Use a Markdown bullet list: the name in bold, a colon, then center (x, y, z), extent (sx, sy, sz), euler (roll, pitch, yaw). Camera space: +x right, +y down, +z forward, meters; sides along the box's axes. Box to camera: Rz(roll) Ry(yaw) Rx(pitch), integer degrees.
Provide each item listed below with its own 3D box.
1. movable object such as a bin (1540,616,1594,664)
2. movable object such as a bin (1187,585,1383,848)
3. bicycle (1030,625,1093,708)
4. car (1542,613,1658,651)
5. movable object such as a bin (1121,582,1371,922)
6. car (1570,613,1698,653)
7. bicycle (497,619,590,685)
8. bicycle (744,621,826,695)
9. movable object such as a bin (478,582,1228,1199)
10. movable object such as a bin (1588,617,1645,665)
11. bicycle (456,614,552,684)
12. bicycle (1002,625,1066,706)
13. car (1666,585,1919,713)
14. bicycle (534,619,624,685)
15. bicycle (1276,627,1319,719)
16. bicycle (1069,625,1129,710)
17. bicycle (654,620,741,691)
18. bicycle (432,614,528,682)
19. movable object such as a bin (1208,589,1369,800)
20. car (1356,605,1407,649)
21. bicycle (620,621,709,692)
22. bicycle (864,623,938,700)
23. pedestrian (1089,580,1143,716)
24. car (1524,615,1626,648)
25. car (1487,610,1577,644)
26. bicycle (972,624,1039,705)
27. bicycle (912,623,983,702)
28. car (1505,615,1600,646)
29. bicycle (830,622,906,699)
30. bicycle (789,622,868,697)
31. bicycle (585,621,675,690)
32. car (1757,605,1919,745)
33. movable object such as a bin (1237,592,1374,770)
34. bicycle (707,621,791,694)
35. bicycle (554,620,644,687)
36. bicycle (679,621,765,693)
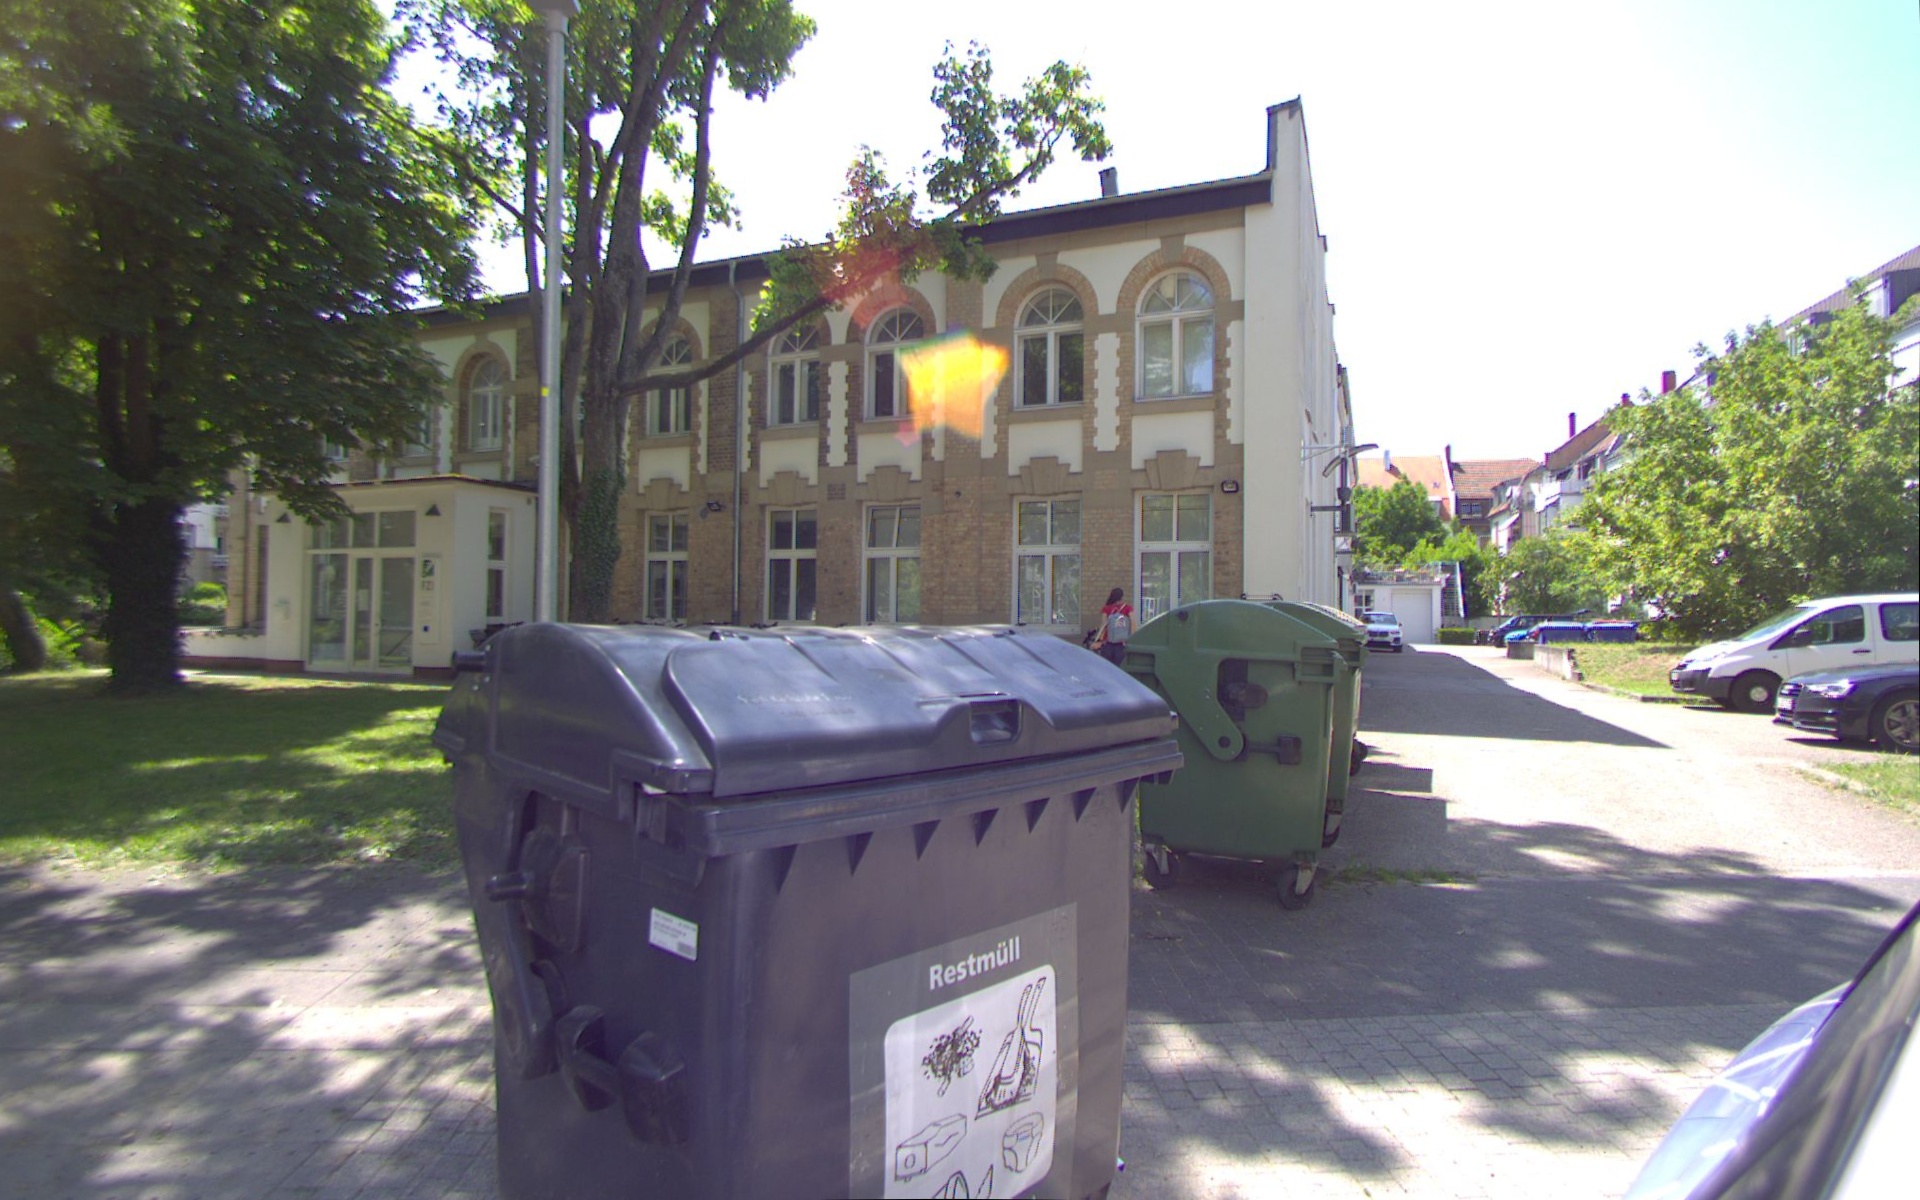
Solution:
- **movable object such as a bin**: center (18.629, 1.216, 31.091), extent (1.258, 1.406, 1.086), euler (0, -1, 24)
- **movable object such as a bin**: center (2.136, 0.655, 6.534), extent (1.067, 1.476, 1.365), euler (0, -1, 24)
- **bicycle**: center (1.528, 0.945, 14.976), extent (0.402, 1.116, 1.812), euler (0, 0, 23)
- **car**: center (28.861, 1.415, 45.764), extent (4.169, 1.589, 1.603), euler (0, -1, 19)
- **movable object such as a bin**: center (1.535, 0.662, 5.258), extent (1.067, 1.476, 1.365), euler (0, -1, 24)
- **car**: center (28.191, 1.366, 42.472), extent (4.169, 1.589, 1.603), euler (0, -1, 19)
- **bicycle**: center (-7.626, 0.926, 18.621), extent (0.402, 1.116, 1.812), euler (0, 0, 23)
- **bicycle**: center (-2.843, 0.924, 16.599), extent (0.402, 1.116, 1.812), euler (0, 0, 23)
- **movable object such as a bin**: center (-0.081, 0.716, 2.171), extent (1.067, 1.476, 1.365), euler (0, -1, 24)
- **movable object such as a bin**: center (19.810, 1.222, 30.585), extent (1.258, 1.406, 1.086), euler (0, -1, 24)
- **bicycle**: center (-8.427, 0.878, 18.768), extent (0.402, 1.115, 1.813), euler (0, 2, 23)
- **bicycle**: center (1.133, 0.944, 15.165), extent (0.402, 1.116, 1.812), euler (0, 0, 23)
- **car**: center (14.411, 0.733, 16.186), extent (4.814, 1.907, 2.049), euler (0, 0, 26)
- **bicycle**: center (-6.985, 0.930, 18.629), extent (0.402, 1.116, 1.812), euler (0, 0, 23)
- **bicycle**: center (4.566, 0.936, 13.640), extent (0.402, 1.116, 1.812), euler (0, 0, 23)
- **bicycle**: center (2.046, 0.948, 14.742), extent (0.402, 1.116, 1.812), euler (0, 0, 23)
- **bicycle**: center (-4.426, 0.916, 17.190), extent (0.402, 1.116, 1.812), euler (0, 0, 23)
- **bicycle**: center (-9.055, 0.876, 19.167), extent (0.402, 1.115, 1.813), euler (0, 2, 23)
- **movable object such as a bin**: center (2.607, 0.662, 7.924), extent (1.067, 1.476, 1.365), euler (0, -1, 24)
- **car**: center (18.528, 1.133, 44.484), extent (1.990, 1.826, 4.689), euler (0, 0, 23)
- **bicycle**: center (-5.037, 0.937, 17.353), extent (0.402, 1.116, 1.812), euler (0, 0, 23)
- **bicycle**: center (-0.899, 0.934, 15.985), extent (0.402, 1.116, 1.812), euler (0, 0, 23)
- **pedestrian**: center (2.102, 0.628, 13.600), extent (0.547, 1.771, 0.683), euler (0, -1, 25)
- **car**: center (31.419, 1.609, 51.805), extent (4.169, 1.589, 1.603), euler (0, -1, 19)
- **car**: center (32.600, 1.527, 57.796), extent (4.169, 1.846, 1.998), euler (0, 0, 19)
- **bicycle**: center (0.719, 0.942, 15.332), extent (0.402, 1.116, 1.812), euler (0, 0, 23)
- **bicycle**: center (-0.165, 0.938, 15.750), extent (0.402, 1.116, 1.812), euler (0, 0, 23)
- **car**: center (32.036, 1.643, 54.853), extent (4.169, 1.589, 1.603), euler (0, -1, 19)
- **bicycle**: center (-1.441, 0.931, 16.163), extent (0.402, 1.116, 1.812), euler (0, 0, 23)
- **bicycle**: center (-2.100, 0.928, 16.415), extent (0.402, 1.116, 1.812), euler (0, 0, 23)
- **bicycle**: center (-5.728, 0.934, 17.660), extent (0.402, 1.116, 1.812), euler (0, 0, 23)
- **car**: center (11.314, 0.807, 10.506), extent (4.399, 1.398, 2.005), euler (0, -3, 26)
- **movable object such as a bin**: center (3.183, 0.670, 9.234), extent (1.067, 1.476, 1.365), euler (0, -1, 24)
- **bicycle**: center (-3.464, 0.921, 16.772), extent (0.402, 1.116, 1.812), euler (0, 0, 23)
- **bicycle**: center (-6.465, 0.931, 18.241), extent (0.402, 1.116, 1.812), euler (0, 0, 23)
- **bicycle**: center (-3.958, 0.919, 16.968), extent (0.402, 1.116, 1.812), euler (0, 0, 23)
